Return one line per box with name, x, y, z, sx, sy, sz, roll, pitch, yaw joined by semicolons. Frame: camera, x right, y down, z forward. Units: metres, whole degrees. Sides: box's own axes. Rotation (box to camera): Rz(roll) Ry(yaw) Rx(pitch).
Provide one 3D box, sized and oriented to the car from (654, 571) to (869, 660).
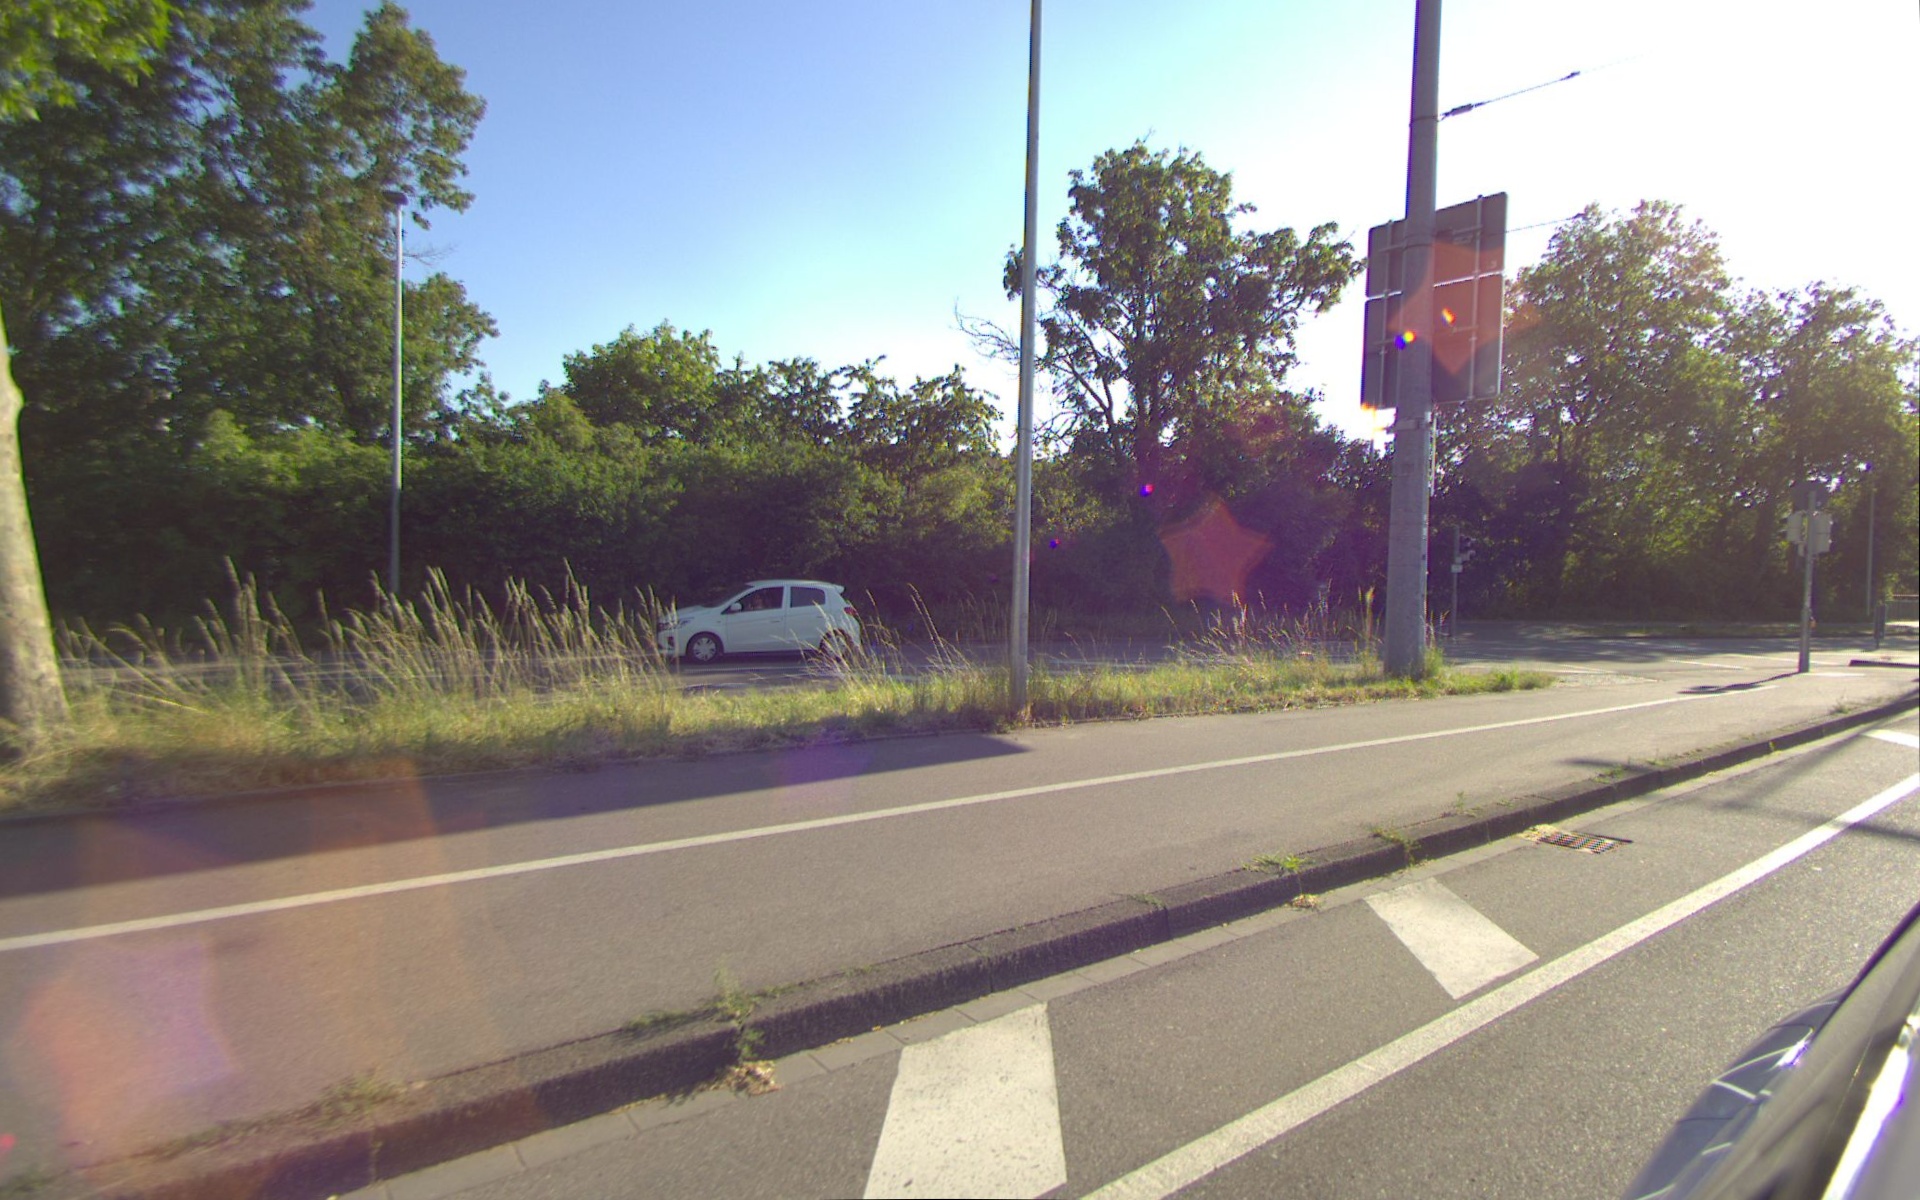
car;-3.724;0.250;18.902;3.666;1.491;1.676;0;3;-23
